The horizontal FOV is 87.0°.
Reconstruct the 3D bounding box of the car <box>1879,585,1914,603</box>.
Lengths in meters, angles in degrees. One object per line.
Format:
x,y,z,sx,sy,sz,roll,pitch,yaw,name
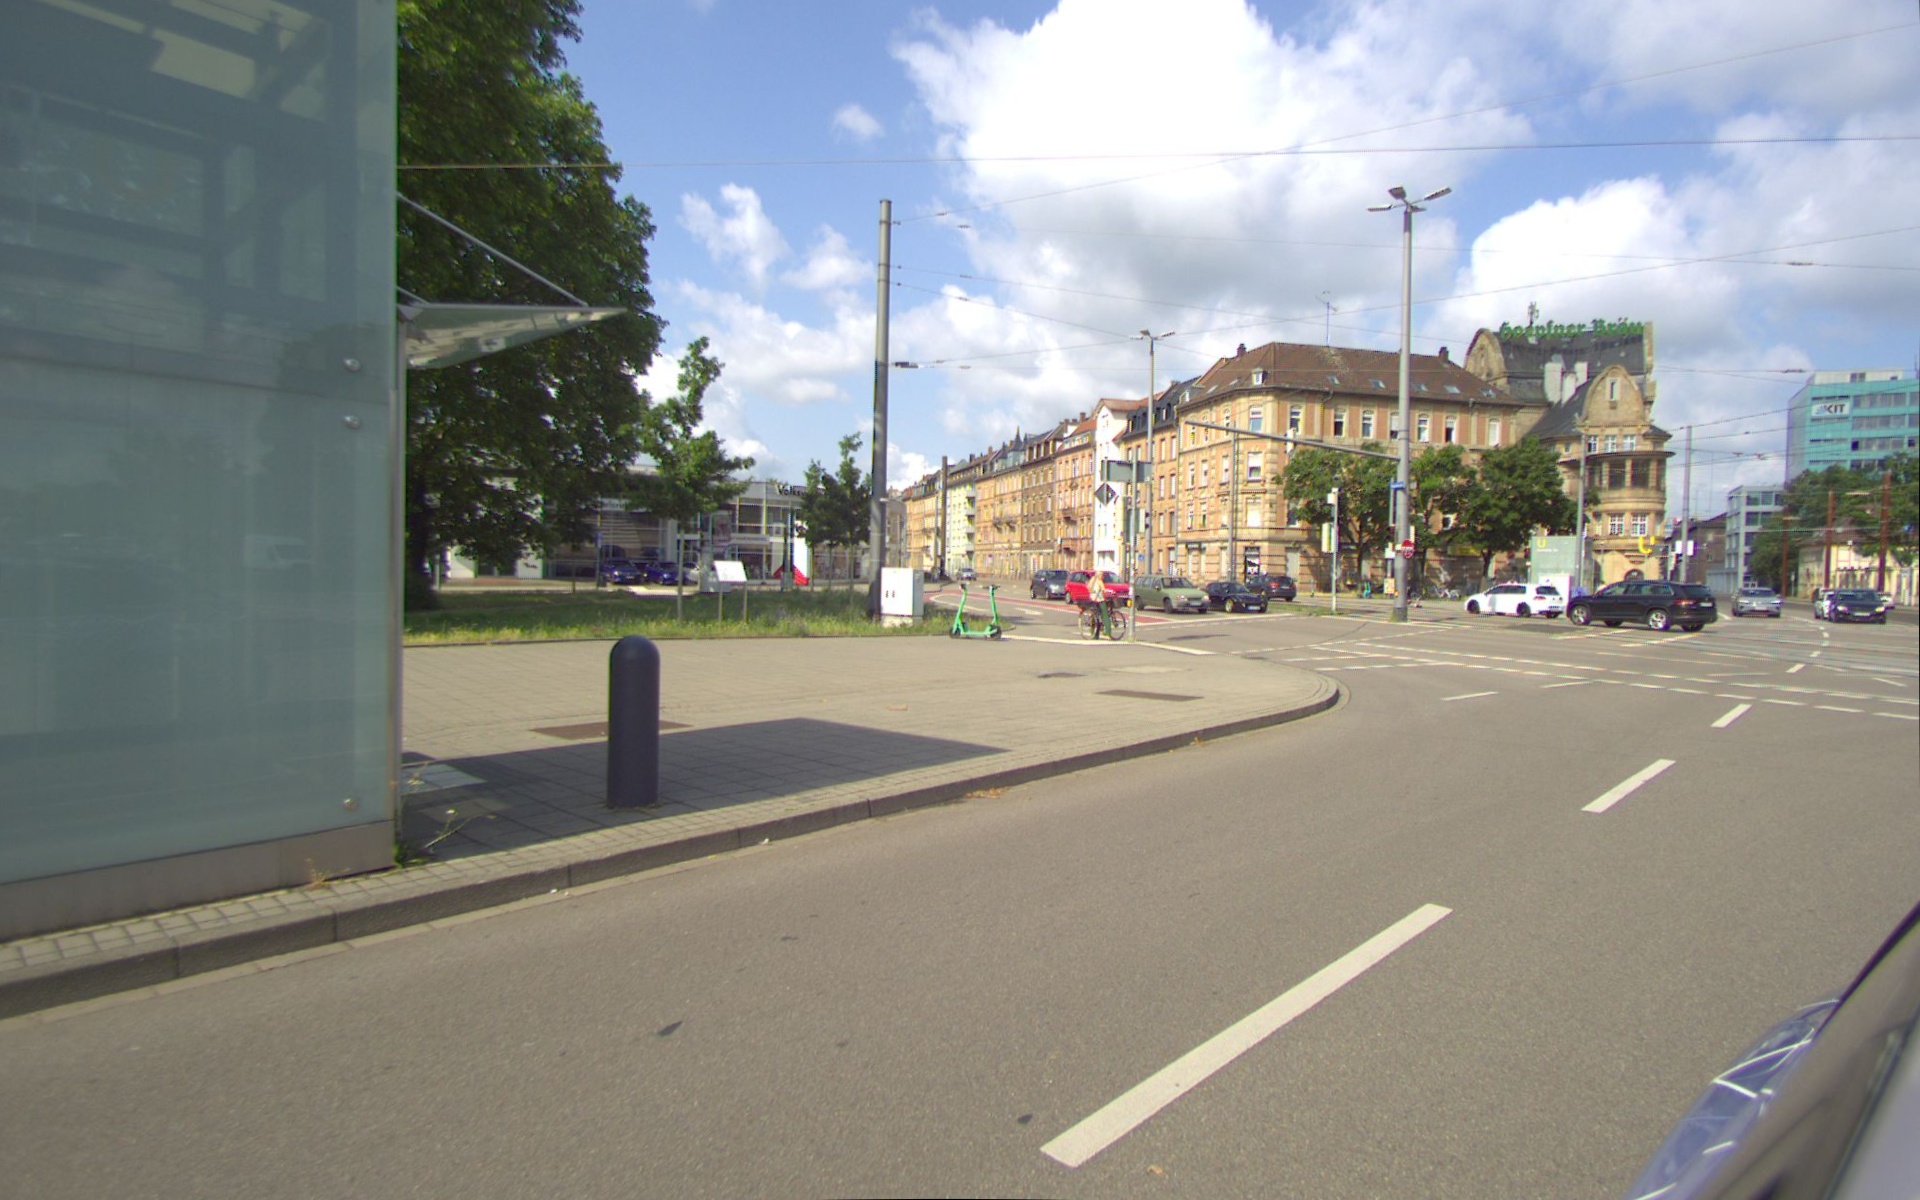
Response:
86.869,-0.574,93.934,1.744,1.548,3.952,1,3,34,car

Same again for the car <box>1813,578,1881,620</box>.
44.534,-0.072,50.896,1.986,1.614,4.632,-1,5,34,car

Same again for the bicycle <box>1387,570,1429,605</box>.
23.644,-0.672,53.460,0.989,1.746,2.471,-2,2,-3,bicycle

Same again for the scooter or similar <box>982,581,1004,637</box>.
0.719,0.190,21.876,0.375,1.172,0.928,2,1,5,scooter or similar

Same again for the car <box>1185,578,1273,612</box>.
10.455,-0.228,39.598,1.593,1.175,4.009,-3,2,-13,car

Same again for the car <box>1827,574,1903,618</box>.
40.944,-0.205,45.884,1.986,1.760,4.290,-1,2,34,car

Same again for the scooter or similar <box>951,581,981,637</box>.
0.142,0.178,21.881,0.376,1.172,0.924,2,1,17,scooter or similar

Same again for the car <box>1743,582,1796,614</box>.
43.548,-0.127,54.507,1.904,1.526,3.952,-1,2,35,car

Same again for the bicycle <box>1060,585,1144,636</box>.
3.404,0.248,24.122,1.954,1.142,0.789,2,0,-36,bicycle

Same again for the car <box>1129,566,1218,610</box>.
8.090,-0.487,38.715,1.788,1.531,4.009,-3,2,-13,car

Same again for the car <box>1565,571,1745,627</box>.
23.200,-0.098,34.010,1.958,1.688,4.695,0,2,-20,car

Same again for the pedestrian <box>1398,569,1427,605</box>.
23.752,-0.685,53.158,0.976,1.864,0.997,-2,2,-4,pedestrian

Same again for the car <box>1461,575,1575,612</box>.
23.768,-0.264,43.288,1.649,1.464,4.240,-1,0,-19,car

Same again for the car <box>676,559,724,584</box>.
-17.344,-1.934,67.425,1.889,1.571,4.002,0,2,-34,car

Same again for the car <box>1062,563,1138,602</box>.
6.077,-0.790,44.303,1.958,1.537,4.009,-3,2,-13,car

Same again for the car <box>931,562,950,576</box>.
-2.480,-4.059,130.072,1.749,1.727,4.009,1,2,-11,car

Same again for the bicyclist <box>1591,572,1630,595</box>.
31.071,-0.783,48.318,0.974,1.040,1.216,-2,-1,-29,bicyclist

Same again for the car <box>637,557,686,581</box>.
-19.299,-1.990,65.325,1.889,1.462,4.002,0,2,-34,car

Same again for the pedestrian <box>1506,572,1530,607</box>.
26.922,-0.516,48.833,0.780,1.662,0.709,0,2,-31,pedestrian

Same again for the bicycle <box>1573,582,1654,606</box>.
31.125,-0.273,48.242,0.976,1.040,3.112,-2,0,-29,bicycle

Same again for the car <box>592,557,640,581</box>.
-21.787,-1.964,63.949,1.889,1.462,4.002,0,2,-34,car

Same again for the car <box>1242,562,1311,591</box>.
17.697,-1.339,56.802,1.736,1.547,4.265,-2,2,-13,car

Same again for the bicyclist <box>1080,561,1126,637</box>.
3.403,-0.014,24.069,0.812,1.768,0.711,3,-3,-37,bicyclist

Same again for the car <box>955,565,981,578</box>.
0.873,-3.175,113.655,1.958,1.348,4.009,1,2,-12,car

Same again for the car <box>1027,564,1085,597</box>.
4.895,-1.028,52.227,1.959,1.571,4.008,1,2,-10,car
